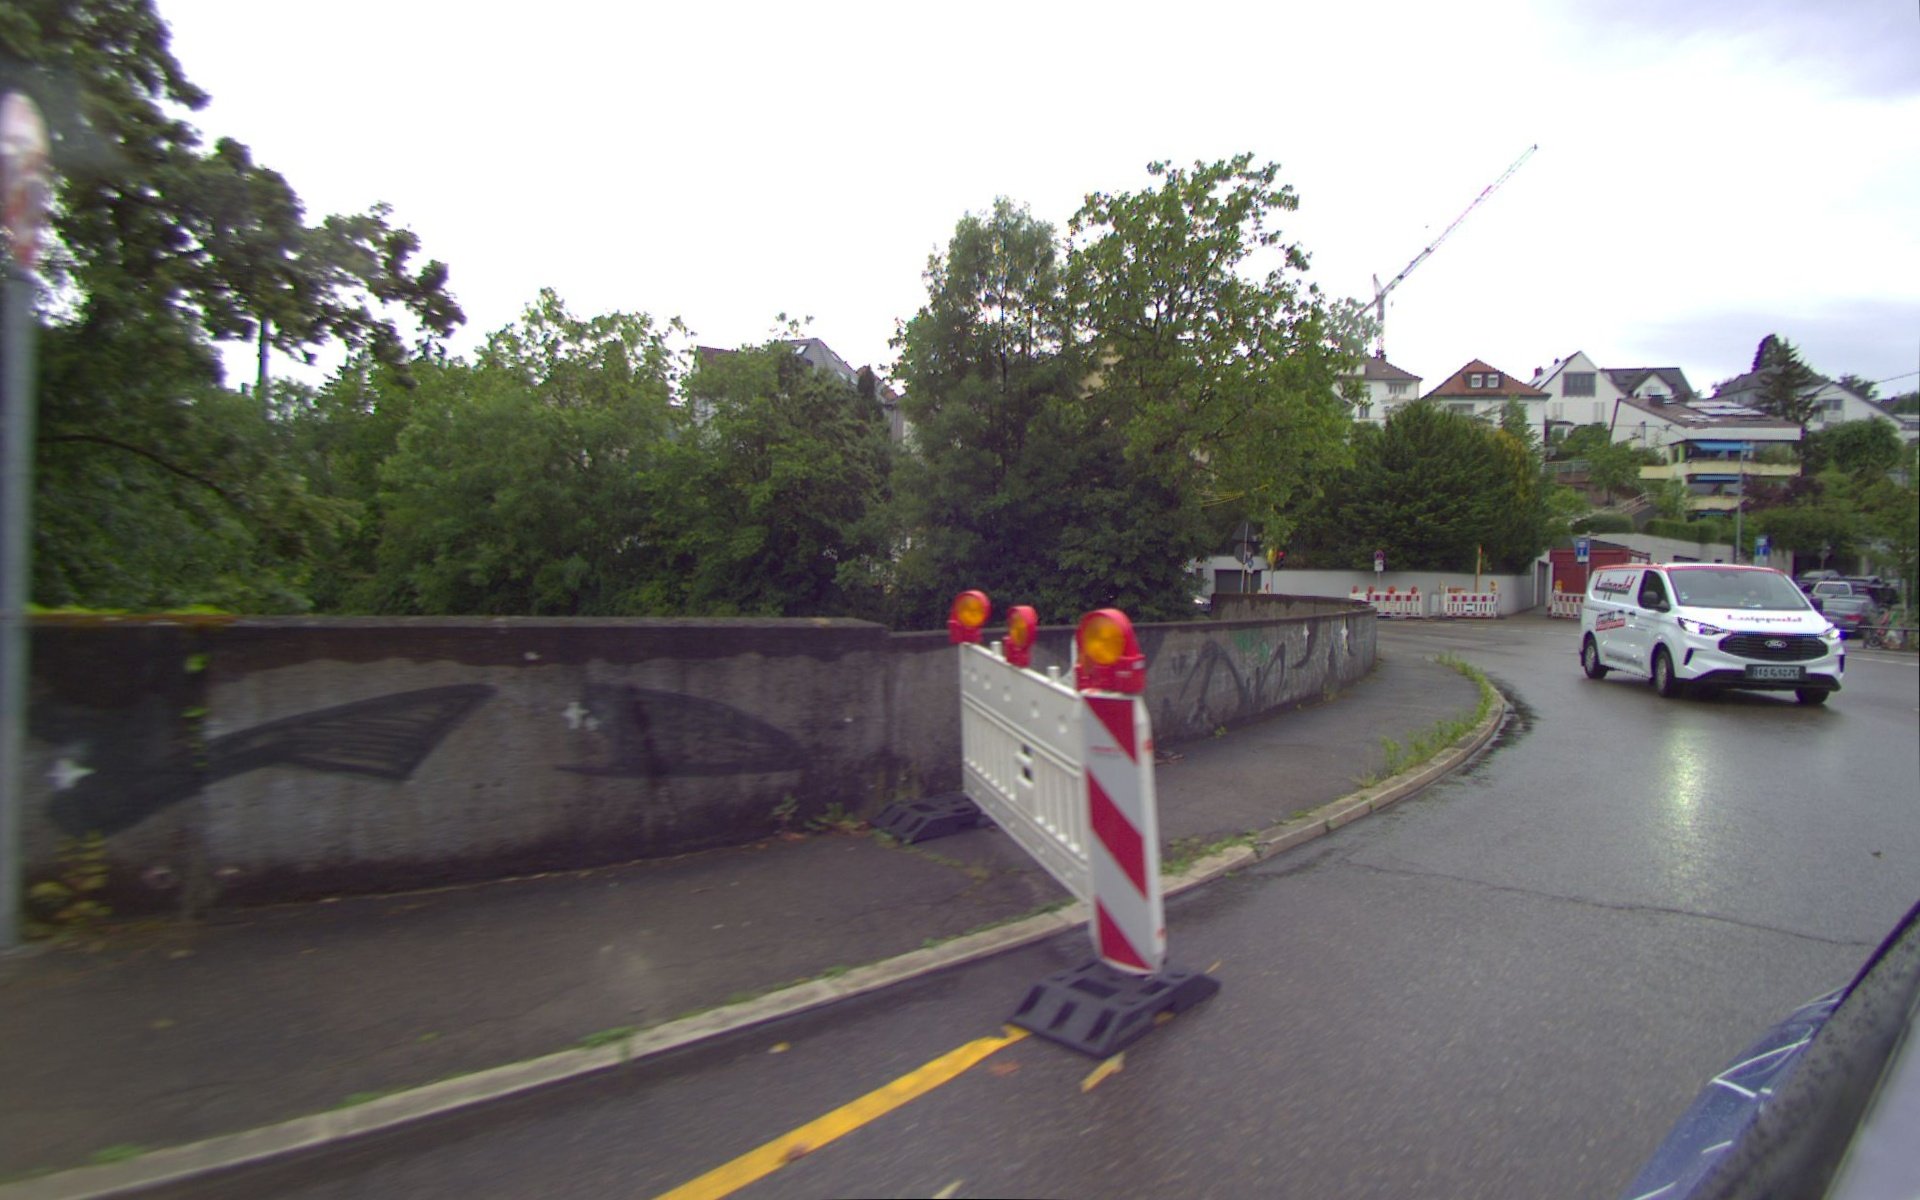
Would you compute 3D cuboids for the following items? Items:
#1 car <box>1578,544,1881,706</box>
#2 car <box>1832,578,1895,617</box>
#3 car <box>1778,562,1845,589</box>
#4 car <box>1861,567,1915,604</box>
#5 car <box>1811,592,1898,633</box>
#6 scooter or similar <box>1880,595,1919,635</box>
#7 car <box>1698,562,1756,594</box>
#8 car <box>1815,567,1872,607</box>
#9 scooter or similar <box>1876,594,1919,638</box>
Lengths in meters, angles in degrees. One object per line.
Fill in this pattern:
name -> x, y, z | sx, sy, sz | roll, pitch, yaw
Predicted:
car -> 11.439, 0.242, 15.580 | 1.972, 2.038, 4.924 | 2, 2, 16
car -> 35.405, -0.140, 39.731 | 1.668, 1.419, 4.144 | 2, 2, 40
car -> 55.968, -1.602, 66.534 | 3.919, 1.512, 1.884 | -3, -1, -26
car -> 49.492, -0.818, 54.028 | 1.993, 1.726, 3.941 | 4, 5, 42
car -> 31.355, 0.411, 35.439 | 4.130, 1.282, 1.673 | -1, 2, -40
scooter or similar -> 26.505, 0.426, 28.349 | 1.024, 1.082, 0.242 | 1, 1, 20
car -> 45.382, -1.285, 59.866 | 3.928, 1.682, 1.873 | 2, 1, -40
car -> 42.632, -0.671, 48.800 | 1.869, 1.681, 3.940 | 4, 5, 43
scooter or similar -> 25.877, 0.438, 27.805 | 1.023, 1.178, 0.242 | 1, 1, 18
